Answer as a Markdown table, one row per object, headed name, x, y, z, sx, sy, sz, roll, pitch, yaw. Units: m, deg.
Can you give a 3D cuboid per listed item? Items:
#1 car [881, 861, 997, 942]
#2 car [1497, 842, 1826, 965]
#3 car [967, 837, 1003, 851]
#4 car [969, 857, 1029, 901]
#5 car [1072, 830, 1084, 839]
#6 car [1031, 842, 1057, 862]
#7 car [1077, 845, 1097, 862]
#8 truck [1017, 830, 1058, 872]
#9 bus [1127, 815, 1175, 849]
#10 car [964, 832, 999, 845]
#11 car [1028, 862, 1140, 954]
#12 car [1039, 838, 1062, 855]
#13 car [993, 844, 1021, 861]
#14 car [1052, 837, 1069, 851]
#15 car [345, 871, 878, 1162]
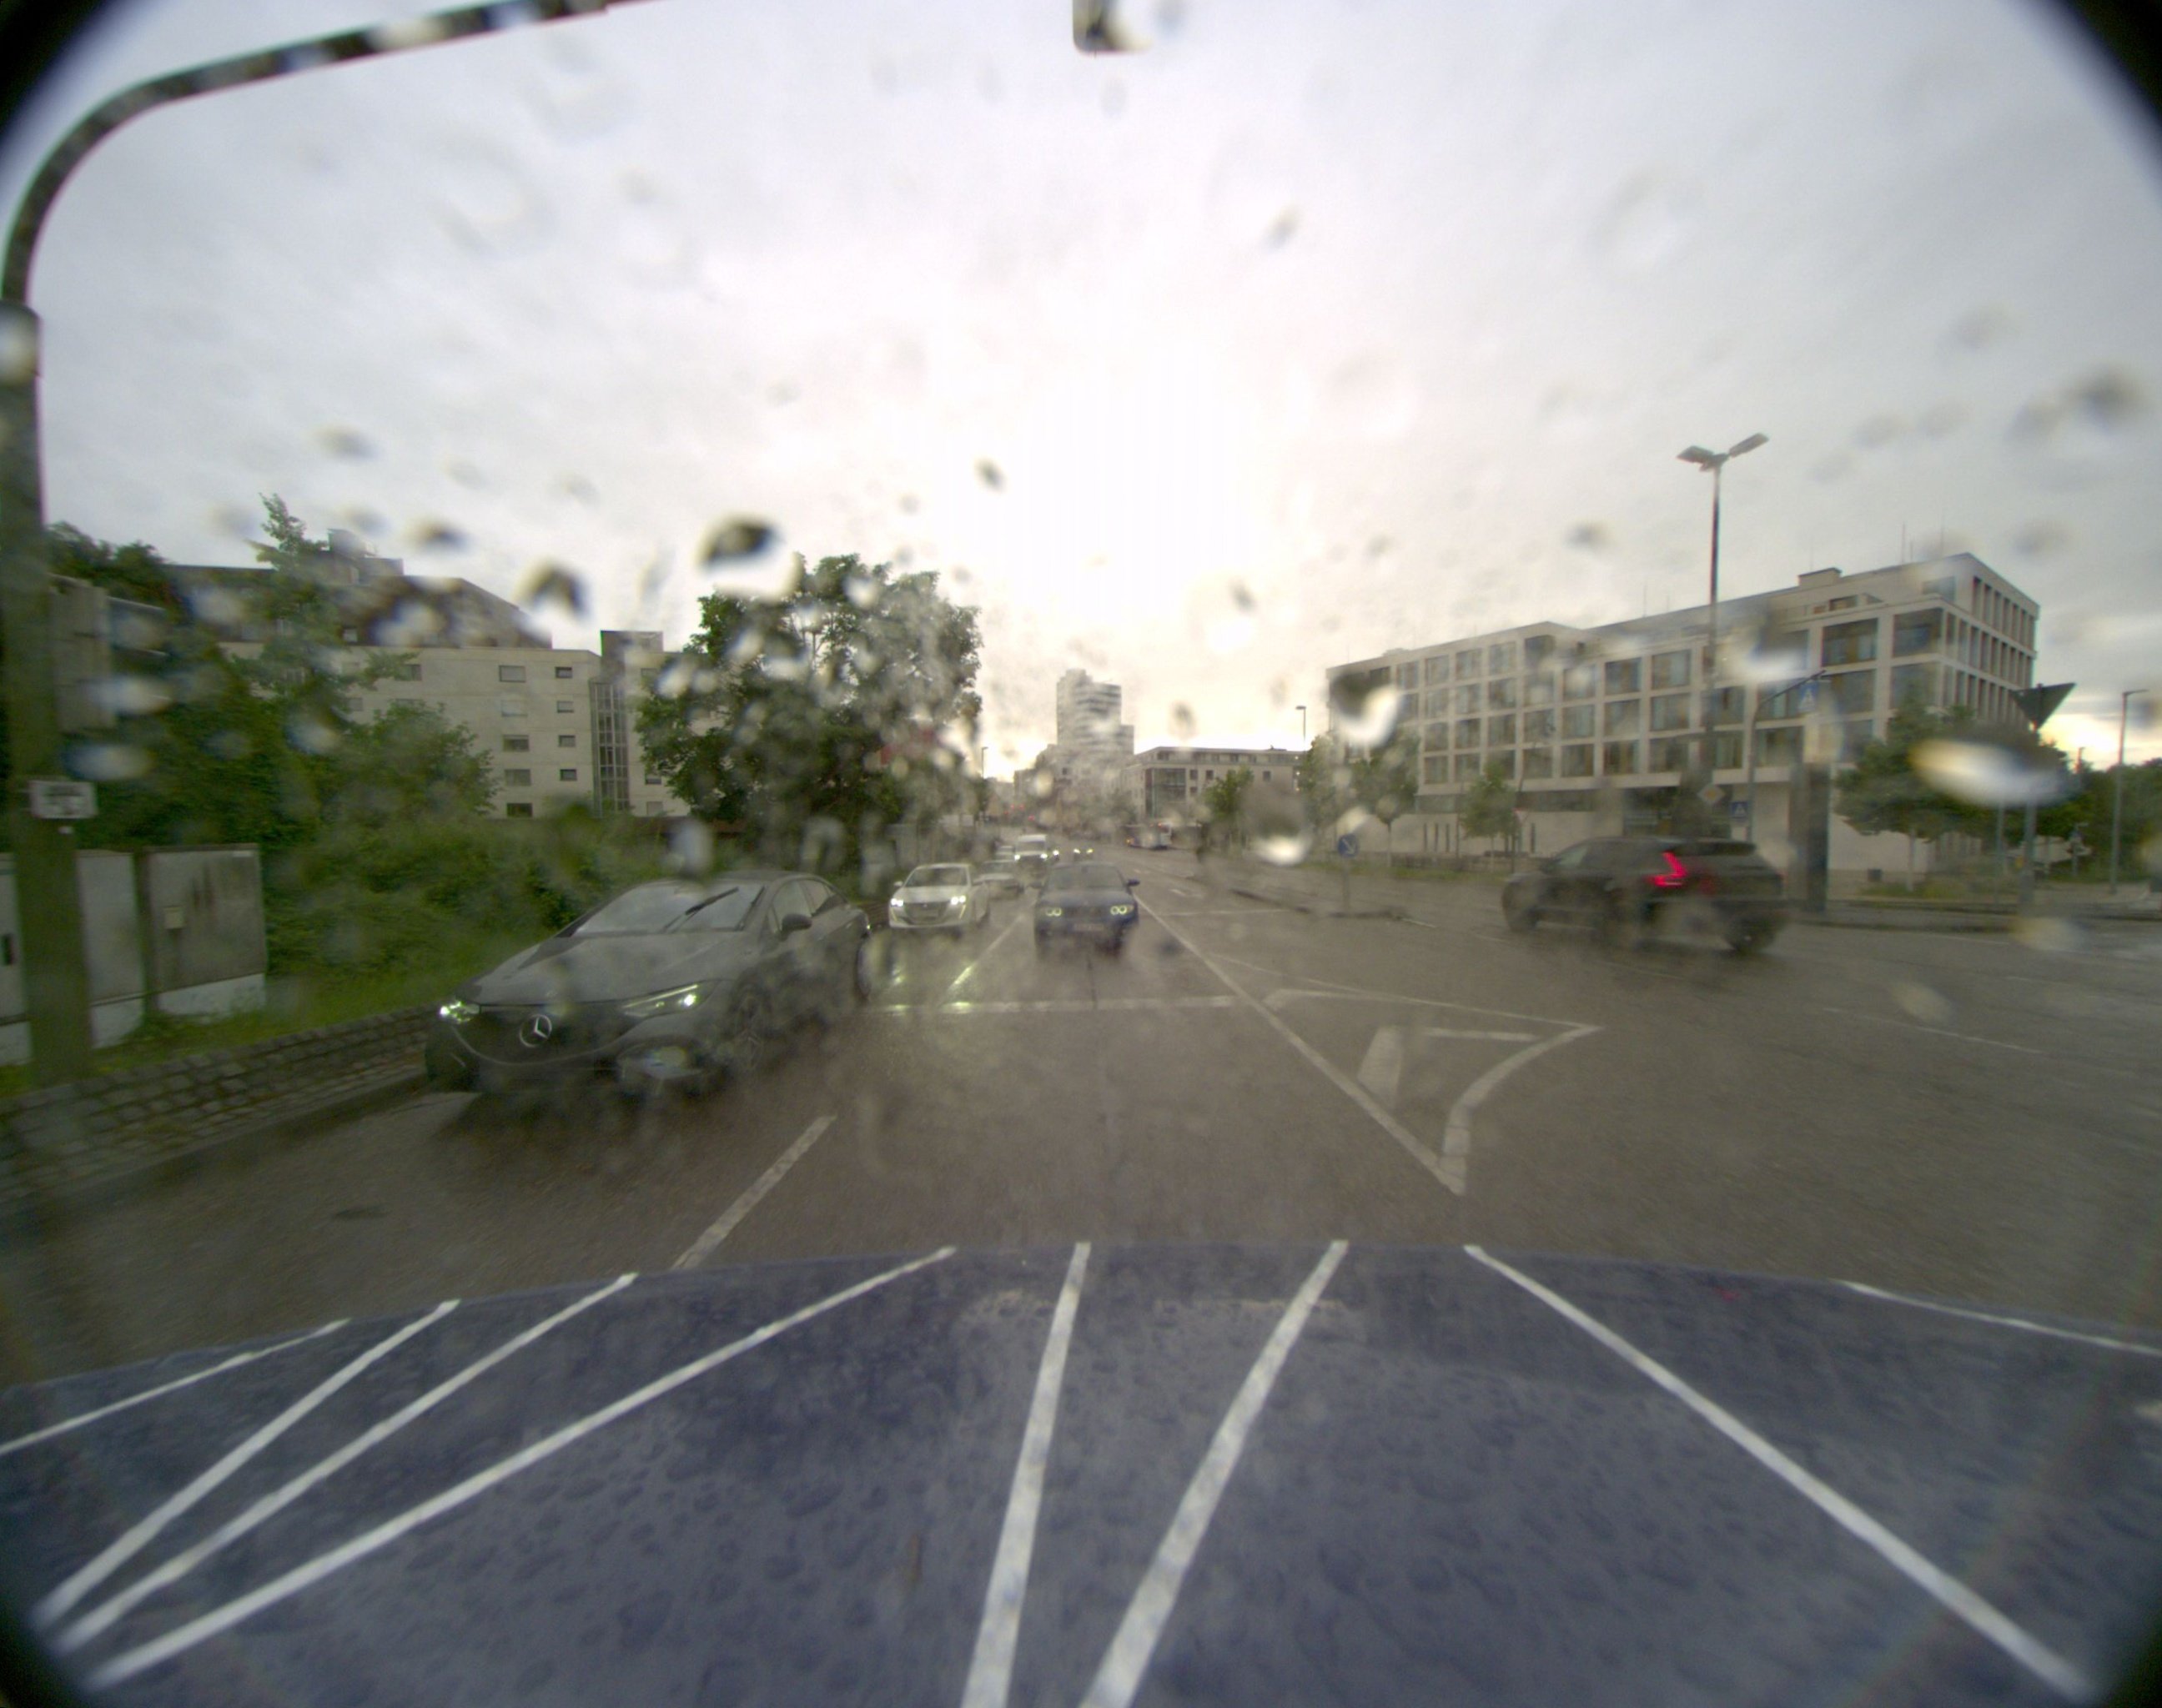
| name | x | y | z | sx | sy | sz | roll | pitch | yaw |
| --- | --- | --- | --- | --- | --- | --- | --- | --- | --- |
| car | -3.011 | 0.954 | 16.950 | 1.718 | 1.389 | 4.035 | -3 | 1 | 1 |
| car | 8.423 | 0.592 | 11.604 | 1.908 | 1.543 | 4.074 | 0 | 1 | 0 |
| car | -11.177 | -1.166 | 88.466 | 4.000 | 1.412 | 1.998 | -3 | 2 | -9 |
| car | -3.005 | 0.871 | 28.507 | 1.718 | 1.369 | 3.734 | -3 | 1 | 1 |
| car | -0.548 | -3.396 | 132.886 | 1.818 | 1.421 | 3.941 | -3 | 3 | 2 |
| car | -3.012 | -0.176 | 62.067 | 1.999 | 1.543 | 3.999 | -1 | 0 | -2 |
| car | 0.552 | -0.069 | 70.553 | 1.718 | 1.369 | 3.734 | -3 | 1 | 1 |
| truck | -2.727 | -0.244 | 48.924 | 2.169 | 2.425 | 6.198 | -1 | 1 | 1 |
| bus | 8.804 | -2.804 | 98.585 | 2.952 | 3.972 | 18.215 | 0 | 1 | -5 |
| car | -11.938 | -1.834 | 90.846 | 4.000 | 1.412 | 1.701 | -3 | 2 | -9 |
| car | 0.075 | 0.897 | 14.233 | 1.787 | 1.335 | 3.704 | -2 | 1 | 1 |
| car | -2.841 | -0.673 | 70.570 | 1.999 | 1.543 | 3.999 | -2 | 0 | -2 |
| car | -6.455 | -0.172 | 66.476 | 1.998 | 1.344 | 3.803 | 1 | 1 | 1 |
| car | -2.405 | -1.183 | 88.506 | 1.999 | 1.543 | 3.999 | -2 | 0 | -2 |
| car | -3.315 | 0.993 | 6.681 | 1.836 | 1.436 | 4.549 | -3 | 1 | -1 |
